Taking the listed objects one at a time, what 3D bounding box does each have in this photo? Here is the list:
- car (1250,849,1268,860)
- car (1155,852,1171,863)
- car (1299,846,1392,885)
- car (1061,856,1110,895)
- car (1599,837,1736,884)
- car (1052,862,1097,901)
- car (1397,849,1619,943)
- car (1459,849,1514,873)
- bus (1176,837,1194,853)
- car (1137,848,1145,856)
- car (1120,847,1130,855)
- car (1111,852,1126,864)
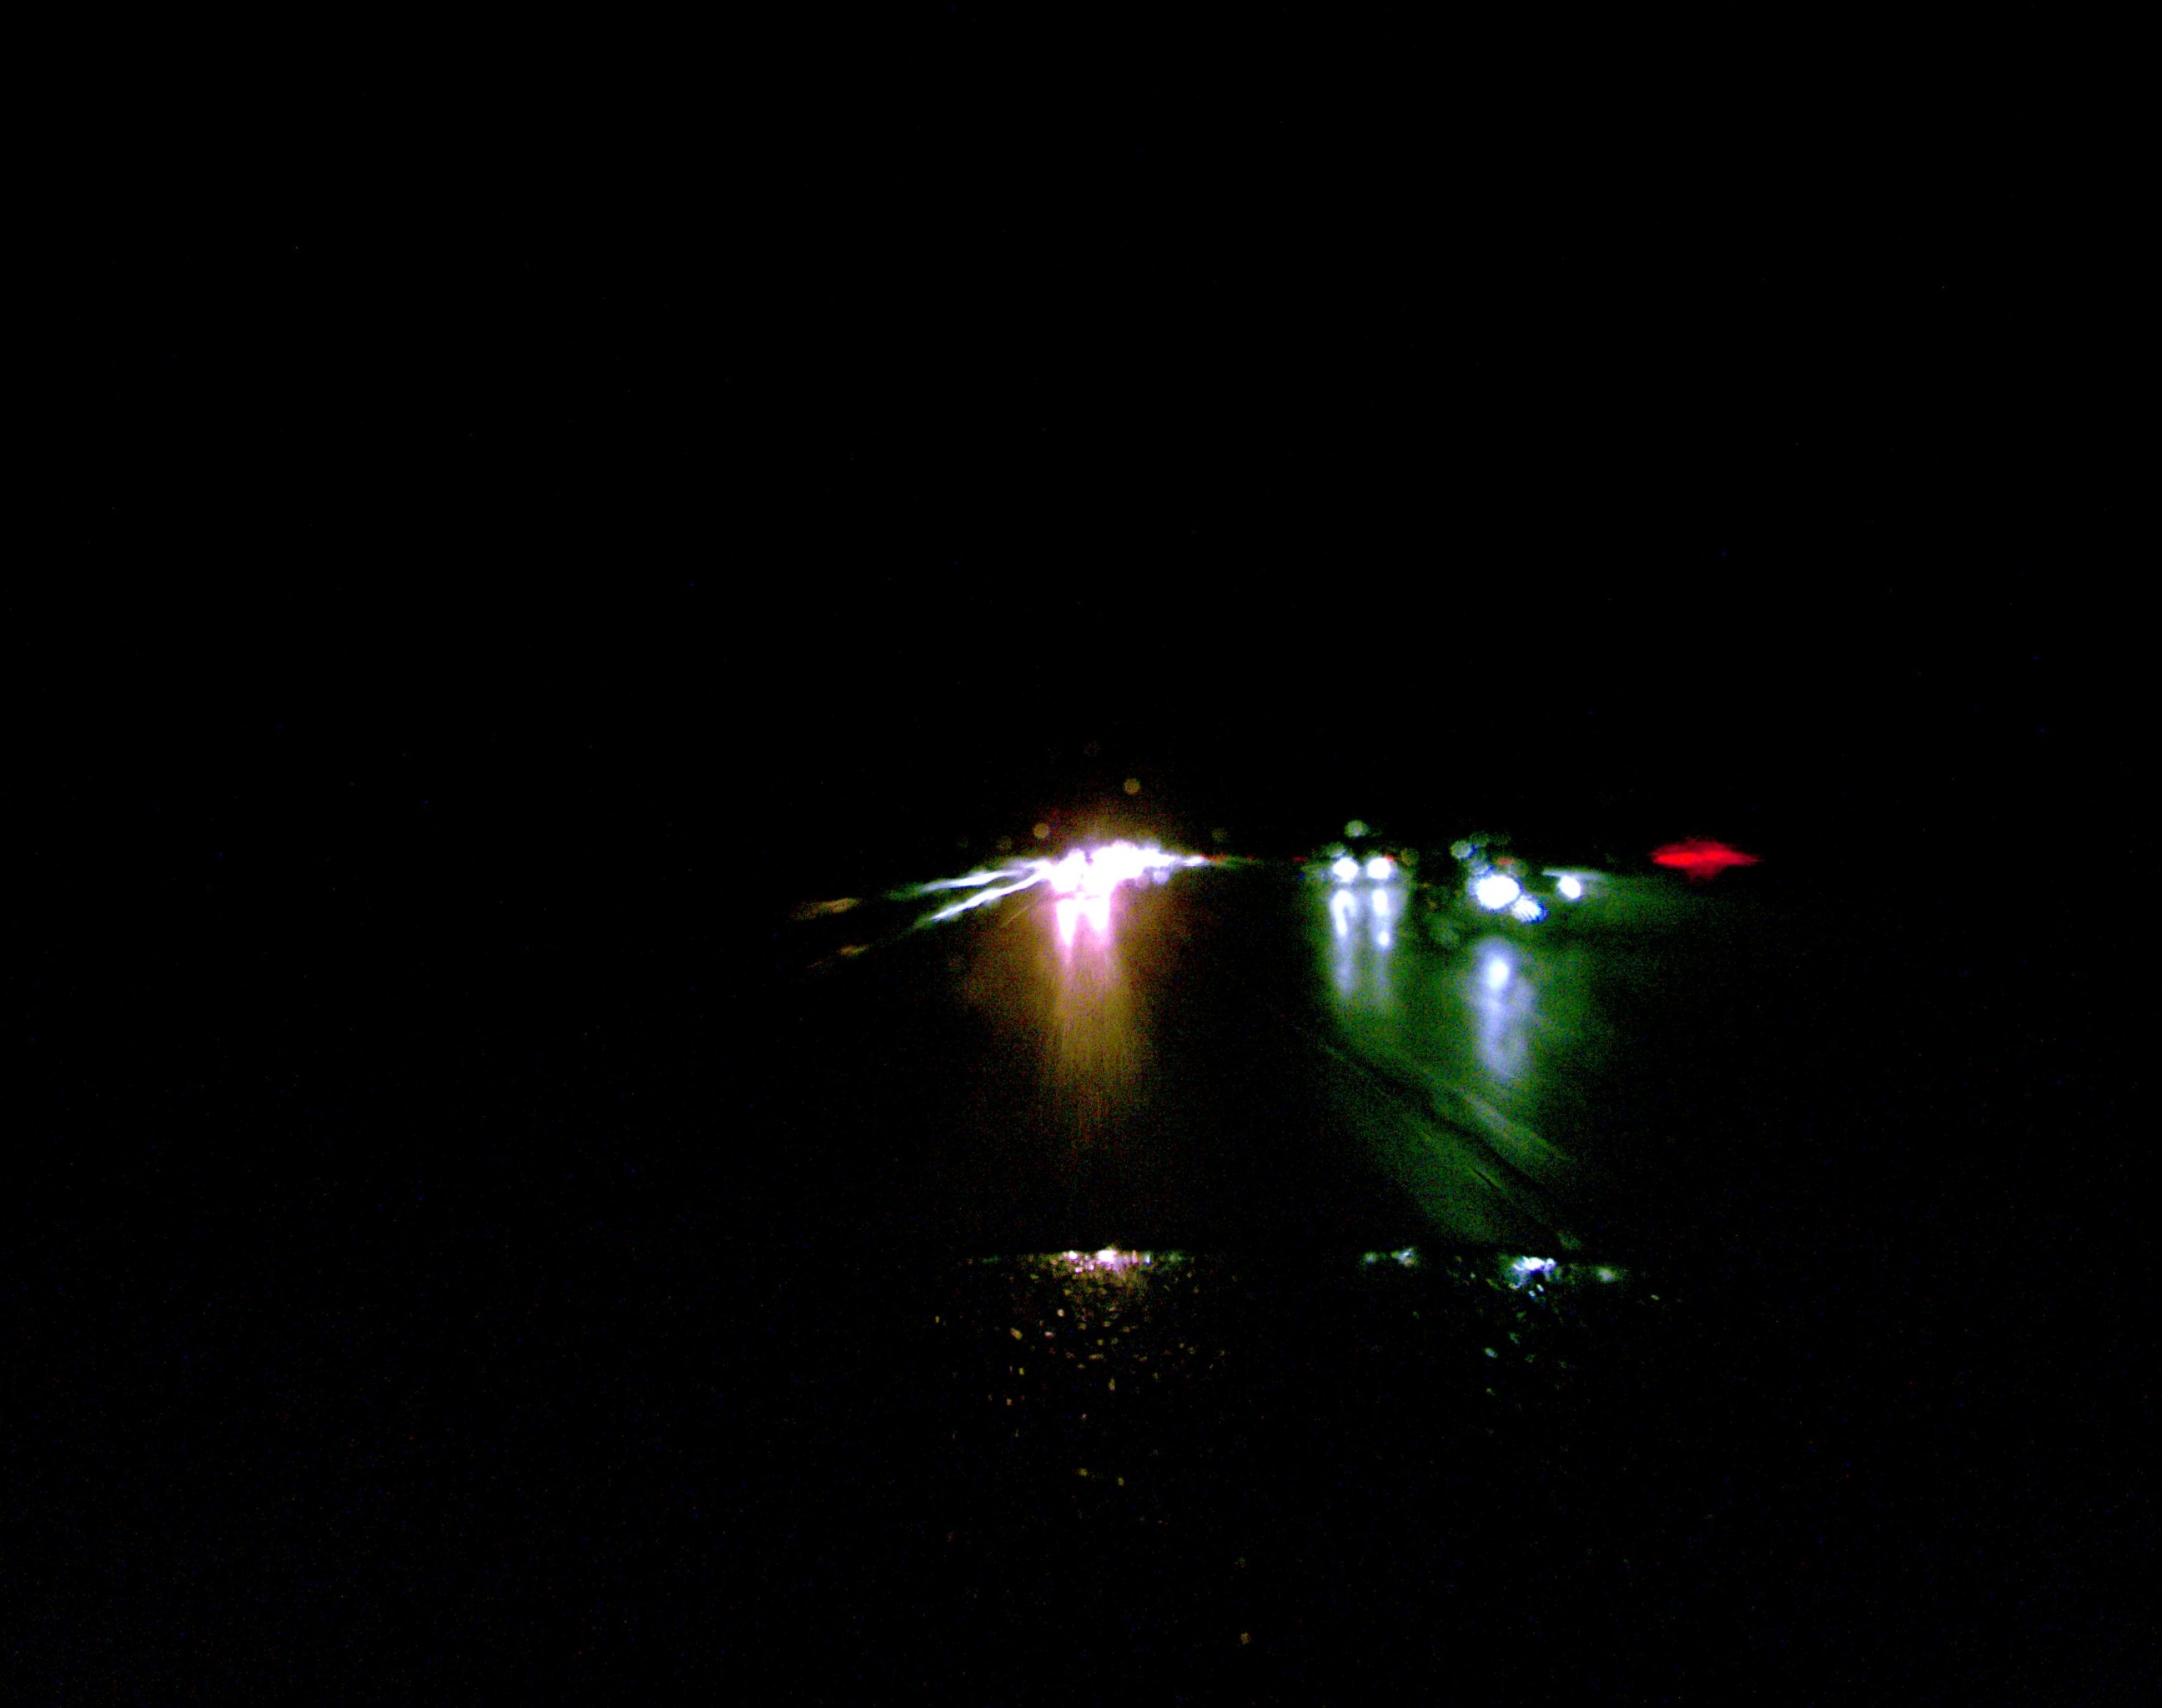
[{"bbox_3d":[30.678,0.090,131.327,1.885,1.712,4.561,-2,1,-2],"label":"car"},{"bbox_3d":[13.084,0.596,121.536,1.998,1.551,4.587,-2,1,1],"label":"car"},{"bbox_3d":[11.182,0.422,32.578,1.999,1.468,5.163,-2,1,-2],"label":"car"},{"bbox_3d":[0.234,0.927,33.649,1.998,1.542,4.001,-2,-1,1],"label":"car"},{"bbox_3d":[23.425,0.213,30.626,1.885,1.712,4.562,-2,1,-2],"label":"car"},{"bbox_3d":[-0.216,0.985,28.387,1.525,1.256,3.369,-2,1,1],"label":"car"},{"bbox_3d":[7.813,0.667,14.418,1.998,1.433,4.000,-2,1,1],"label":"car"},{"bbox_3d":[32.440,0.520,60.872,1.885,1.712,4.562,-2,1,-1],"label":"car"},{"bbox_3d":[30.953,-2.578,226.020,3.379,4.423,16.541,-2,1,1],"label":"bus"},{"bbox_3d":[15.285,-0.584,193.669,1.998,1.797,4.000,-2,1,2],"label":"car"},{"bbox_3d":[9.729,-0.630,167.462,1.998,1.551,4.587,-2,1,1],"label":"car"},{"bbox_3d":[5.304,0.579,108.055,1.998,1.551,4.587,-2,1,1],"label":"car"}]
